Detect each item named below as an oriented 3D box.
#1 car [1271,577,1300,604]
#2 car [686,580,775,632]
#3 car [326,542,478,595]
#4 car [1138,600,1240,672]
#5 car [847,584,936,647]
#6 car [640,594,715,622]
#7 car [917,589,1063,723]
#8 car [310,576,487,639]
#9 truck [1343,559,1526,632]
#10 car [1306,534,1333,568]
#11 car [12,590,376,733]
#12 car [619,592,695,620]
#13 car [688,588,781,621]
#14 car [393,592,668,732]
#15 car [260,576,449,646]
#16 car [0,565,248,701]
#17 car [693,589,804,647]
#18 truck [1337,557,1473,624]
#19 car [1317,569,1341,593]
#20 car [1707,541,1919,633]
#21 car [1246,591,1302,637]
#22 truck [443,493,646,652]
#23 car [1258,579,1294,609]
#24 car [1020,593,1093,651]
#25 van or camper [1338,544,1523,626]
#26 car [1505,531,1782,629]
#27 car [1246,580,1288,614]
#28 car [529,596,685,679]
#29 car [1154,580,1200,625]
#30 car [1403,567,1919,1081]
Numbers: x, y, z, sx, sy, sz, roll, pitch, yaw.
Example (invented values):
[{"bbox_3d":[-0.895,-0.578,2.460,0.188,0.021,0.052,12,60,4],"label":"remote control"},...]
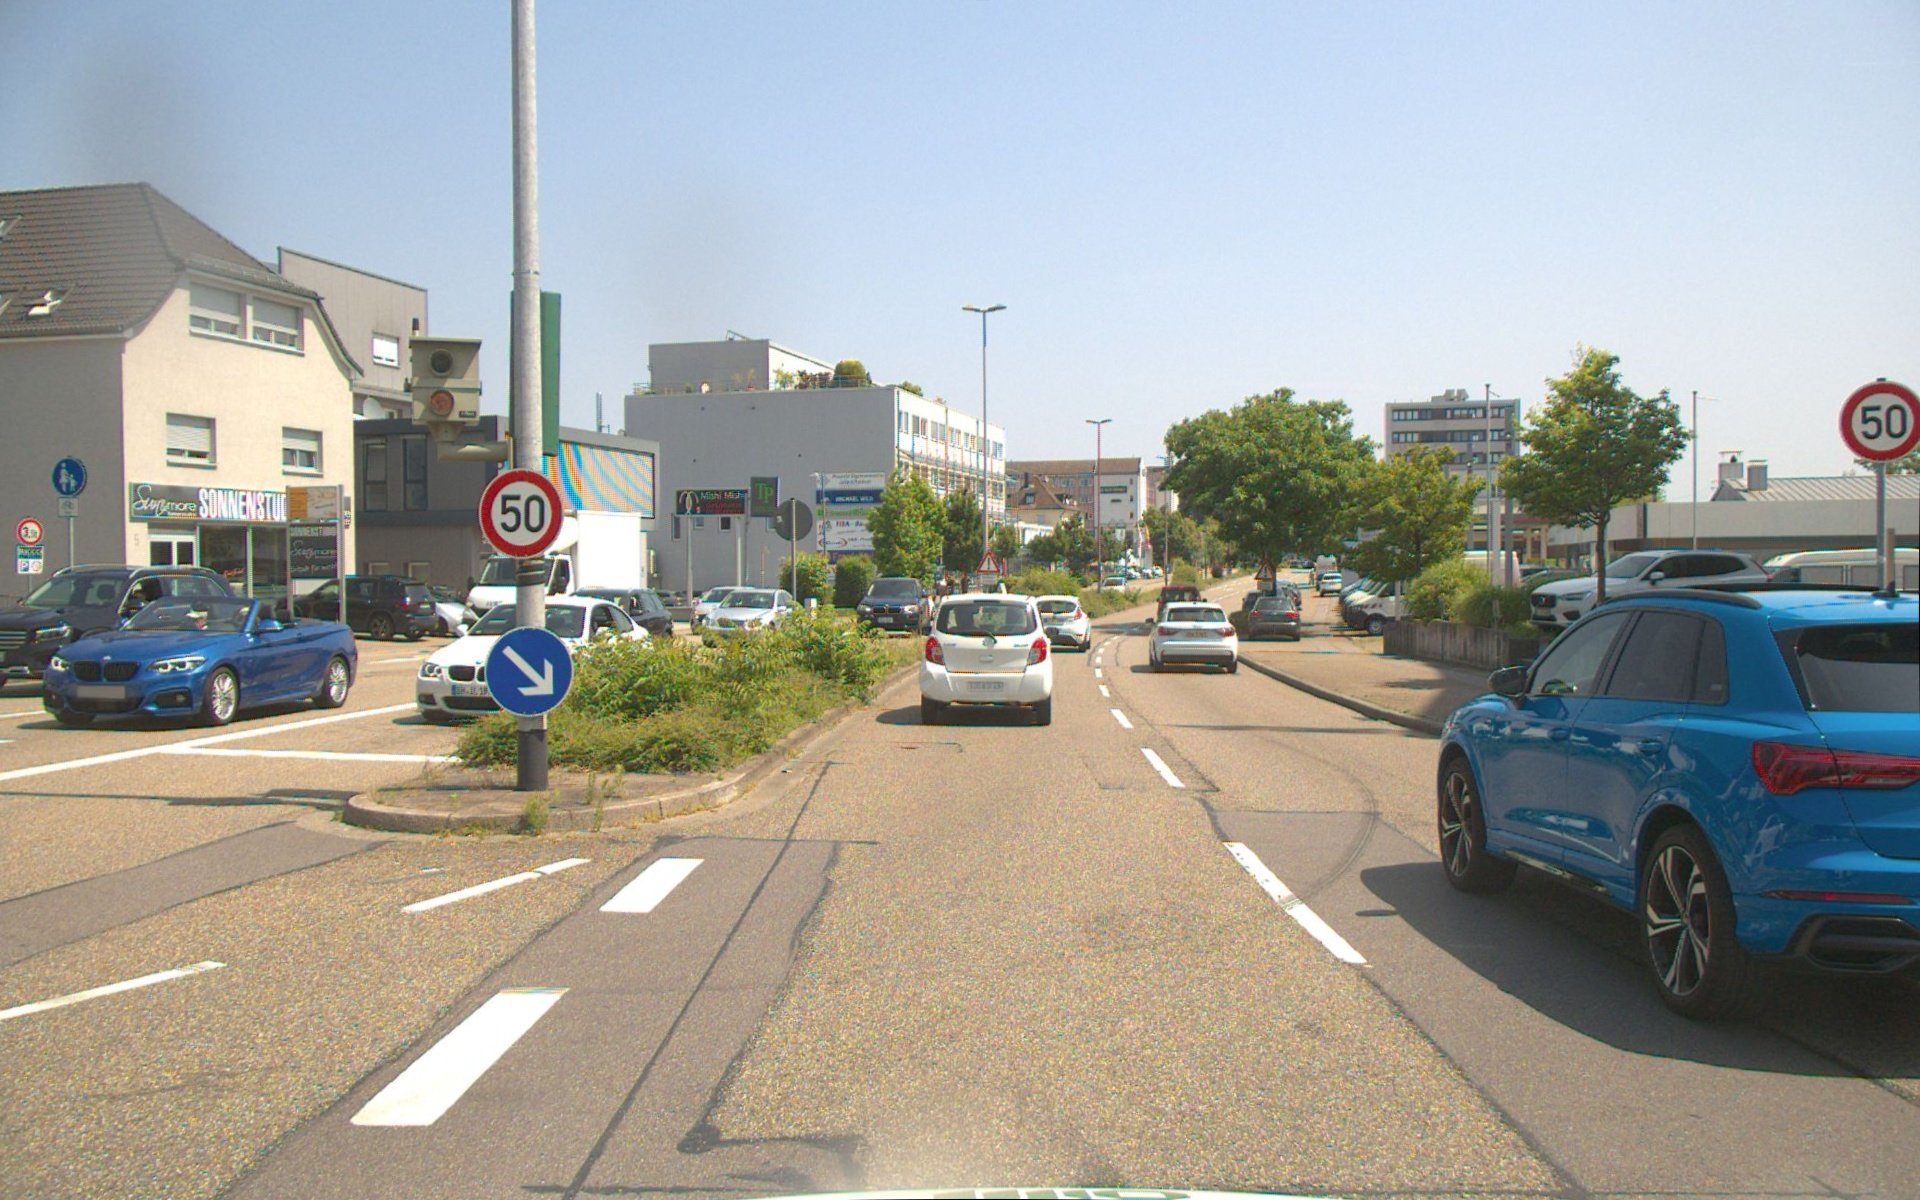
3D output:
[{"bbox_3d":[20.053,-0.583,101.956,1.677,1.575,4.795,-1,1,11],"label":"car"},{"bbox_3d":[-7.306,0.194,53.073,1.857,1.594,4.201,0,0,6],"label":"car"},{"bbox_3d":[-17.330,-0.952,51.429,3.969,1.548,2.002,-1,0,10],"label":"car"},{"bbox_3d":[4.762,0.717,34.840,1.633,1.423,3.793,0,0,0],"label":"car"},{"bbox_3d":[-2.002,0.453,49.863,1.868,1.781,4.763,1,0,7],"label":"car"},{"bbox_3d":[-16.836,0.475,98.584,3.889,1.493,2.075,-3,1,11],"label":"car"},{"bbox_3d":[0.325,0.659,20.829,1.677,1.537,3.246,1,0,-1],"label":"car"},{"bbox_3d":[-16.406,0.205,48.394,4.509,1.522,1.754,3,1,4],"label":"car"},{"bbox_3d":[16.888,-0.166,59.197,6.112,2.377,2.371,-2,1,14],"label":"truck"},{"bbox_3d":[32.800,-4.432,150.941,2.087,2.888,7.316,-4,1,11],"label":"car"},{"bbox_3d":[-8.399,0.615,18.631,1.824,1.390,4.349,1,0,4],"label":"car"},{"bbox_3d":[-17.450,0.338,95.275,3.887,1.493,1.966,-1,1,8],"label":"car"},{"bbox_3d":[-10.353,0.212,76.038,3.902,1.484,1.577,-1,-1,8],"label":"car"},{"bbox_3d":[-4.970,0.641,19.899,1.824,1.456,4.746,1,0,3],"label":"car"},{"bbox_3d":[-16.582,0.272,45.368,4.508,1.655,1.855,3,1,12],"label":"car"},{"bbox_3d":[-11.972,0.384,23.014,1.952,1.685,4.596,-1,1,3],"label":"car"},{"bbox_3d":[-5.311,0.437,42.085,1.857,1.384,4.201,0,0,6],"label":"car"},{"bbox_3d":[17.874,-0.400,66.552,5.135,2.478,2.113,-2,1,14],"label":"truck"},{"bbox_3d":[26.725,-1.396,119.747,1.631,1.623,4.617,-1,1,12],"label":"car"},{"bbox_3d":[24.949,-0.380,47.926,5.761,2.573,2.121,1,-1,16],"label":"car"},{"bbox_3d":[10.637,0.443,56.012,1.759,1.430,4.324,1,1,11],"label":"car"},{"bbox_3d":[-9.825,-0.590,39.926,2.216,3.477,7.044,1,0,8],"label":"truck"},{"bbox_3d":[17.262,-0.343,90.620,1.815,1.507,5.161,0,1,10],"label":"car"},{"bbox_3d":[2.561,0.552,44.655,1.792,1.475,4.001,1,0,1],"label":"car"},{"bbox_3d":[18.002,-0.569,63.607,6.651,2.948,2.278,-1,1,12],"label":"van or camper"},{"bbox_3d":[13.141,-0.348,31.885,4.643,1.743,1.994,1,0,-13],"label":"car"},{"bbox_3d":[15.983,-0.158,85.886,1.919,1.556,5.166,-3,1,13],"label":"car"},{"bbox_3d":[-6.684,0.662,31.817,1.764,1.464,4.578,1,0,3],"label":"car"},{"bbox_3d":[8.784,0.075,67.241,1.756,1.759,3.976,1,0,7],"label":"car"},{"bbox_3d":[3.595,0.707,7.473,1.874,1.625,4.393,0,0,-2],"label":"car"}]
